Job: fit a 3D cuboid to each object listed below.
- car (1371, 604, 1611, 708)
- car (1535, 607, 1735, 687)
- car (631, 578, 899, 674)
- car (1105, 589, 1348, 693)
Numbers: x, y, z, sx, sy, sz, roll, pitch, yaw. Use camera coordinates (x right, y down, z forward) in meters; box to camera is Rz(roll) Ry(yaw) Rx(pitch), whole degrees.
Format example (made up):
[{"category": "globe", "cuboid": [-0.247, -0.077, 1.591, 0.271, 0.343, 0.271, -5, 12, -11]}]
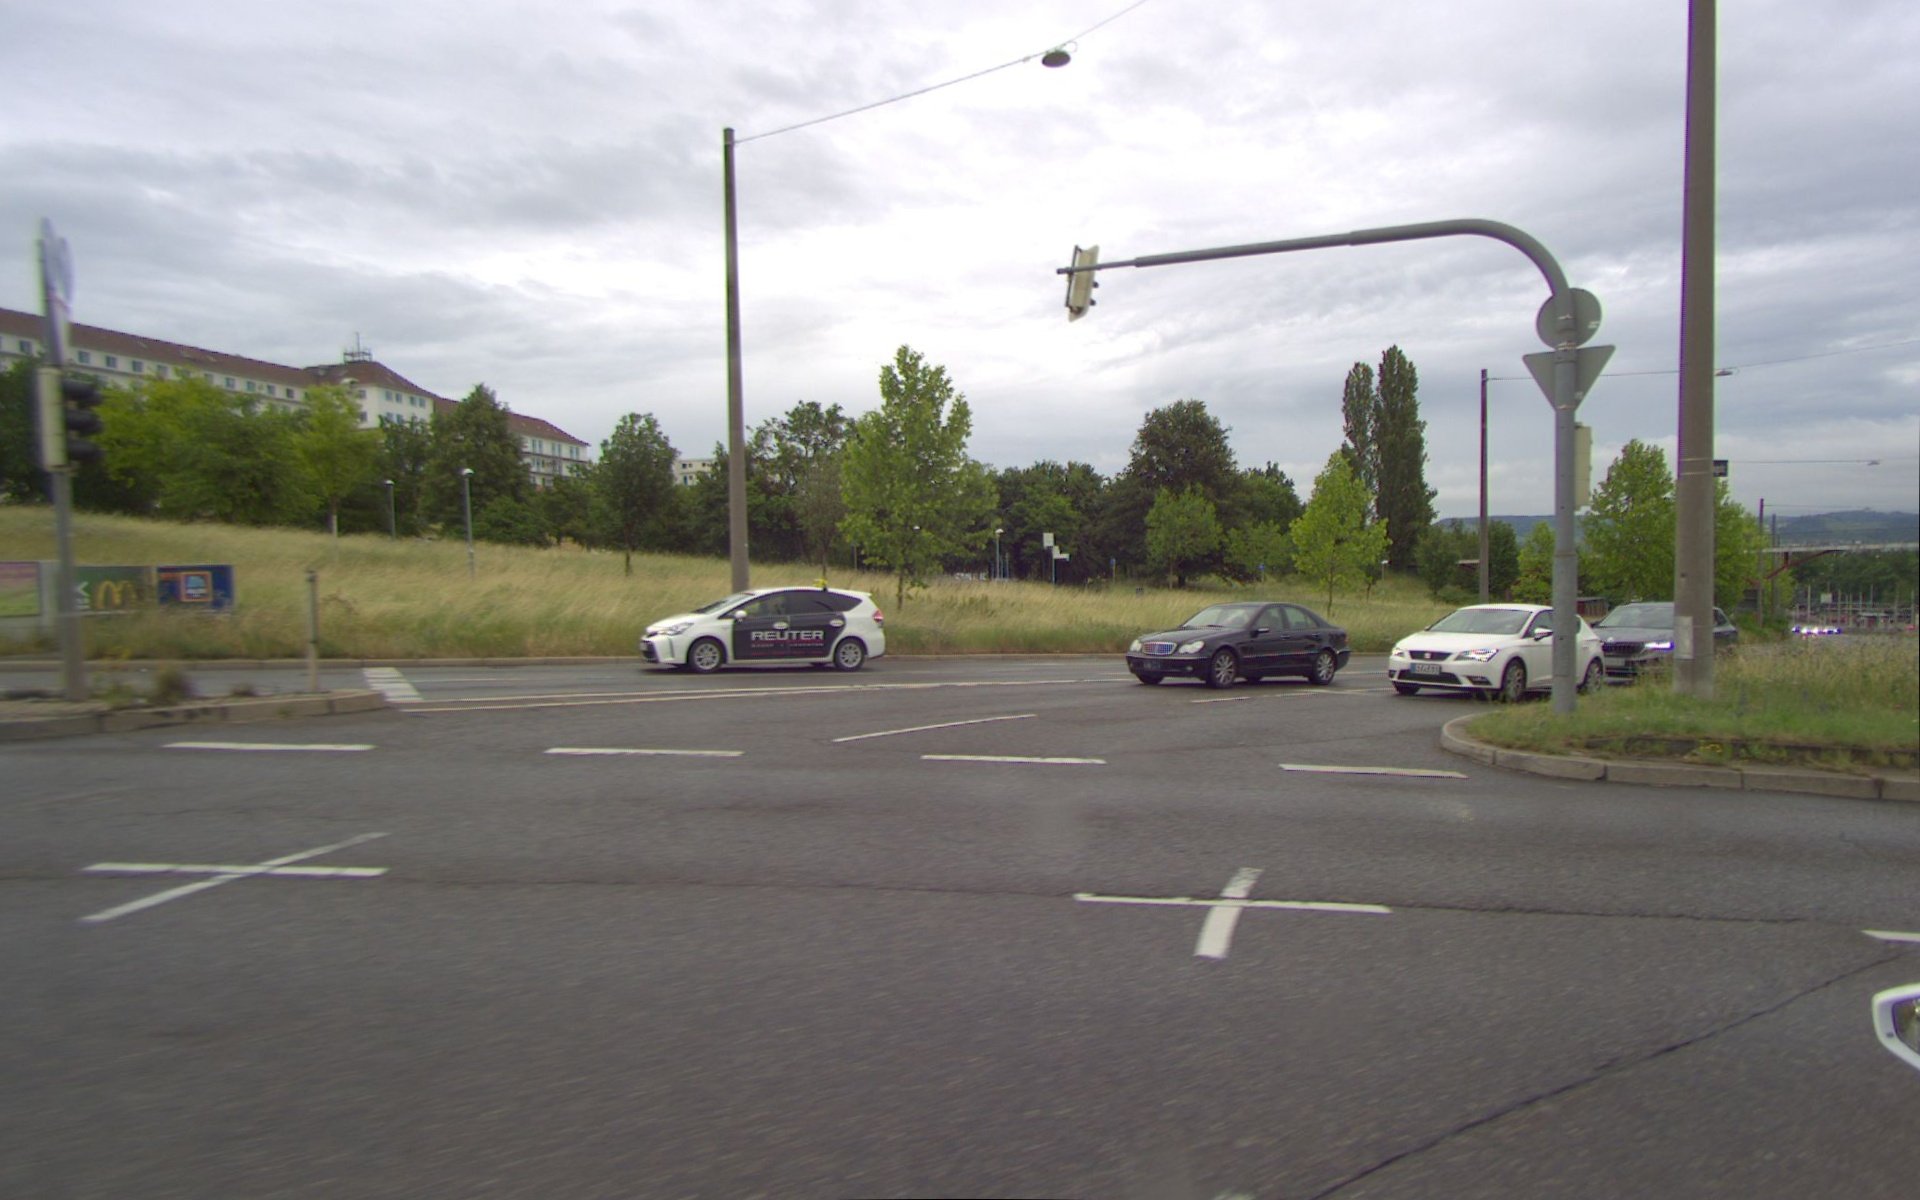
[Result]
[{"category": "car", "cuboid": [8.294, 0.832, 15.572, 3.962, 1.391, 1.725, 2, 0, -36]}, {"category": "car", "cuboid": [13.379, 0.858, 19.857, 3.956, 1.342, 1.884, -1, 2, -33]}, {"category": "car", "cuboid": [-3.651, 0.504, 19.039, 4.621, 1.632, 1.876, 2, 0, -30]}, {"category": "car", "cuboid": [4.581, 0.686, 17.076, 3.961, 1.557, 1.882, 3, 0, -36]}]
